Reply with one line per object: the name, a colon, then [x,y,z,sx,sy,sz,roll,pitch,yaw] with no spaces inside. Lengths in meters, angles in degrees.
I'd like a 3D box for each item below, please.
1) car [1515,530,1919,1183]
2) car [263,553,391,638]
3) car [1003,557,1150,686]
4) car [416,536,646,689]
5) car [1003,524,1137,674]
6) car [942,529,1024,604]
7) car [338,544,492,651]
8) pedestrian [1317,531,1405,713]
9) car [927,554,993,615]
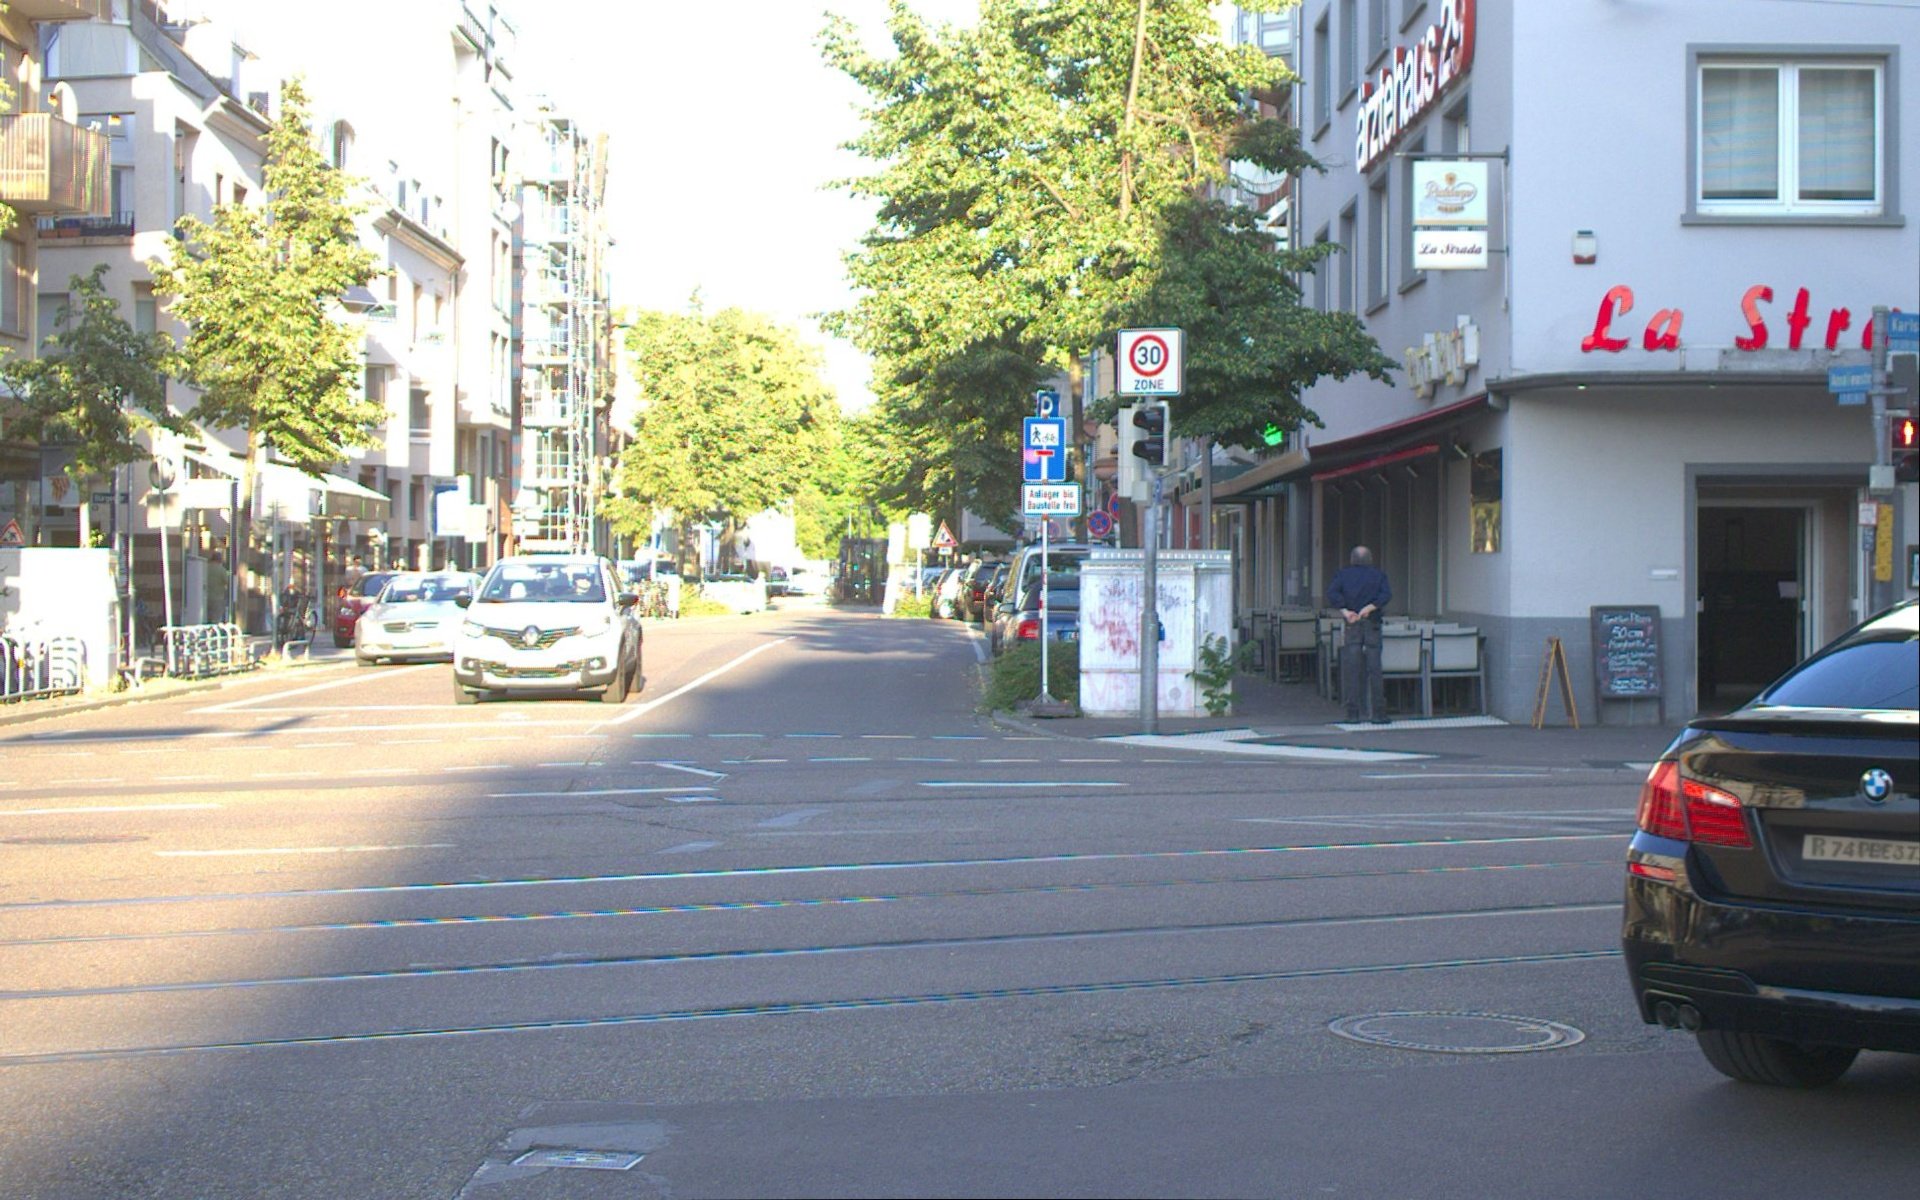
car: [3.614,0.607,9.730,1.958,1.493,4.454,2,1,41]
car: [-11.976,-0.083,65.205,1.834,1.551,3.780,-1,0,-2]
car: [1.372,0.226,40.405,1.640,1.439,3.607,0,1,2]
car: [-4.587,0.129,37.271,2.108,1.551,4.013,-1,0,-2]
car: [1.511,-0.049,46.766,1.640,1.867,3.607,3,1,2]
car: [0.585,-0.816,83.863,1.851,1.788,4.000,0,1,2]
car: [-8.300,-0.061,52.607,1.834,1.551,3.780,-1,1,-2]
pedestrian: [3.736,0.194,32.057,0.711,1.670,0.703,1,1,0]
car: [0.025,-0.488,104.139,1.851,1.788,4.000,0,1,2]
